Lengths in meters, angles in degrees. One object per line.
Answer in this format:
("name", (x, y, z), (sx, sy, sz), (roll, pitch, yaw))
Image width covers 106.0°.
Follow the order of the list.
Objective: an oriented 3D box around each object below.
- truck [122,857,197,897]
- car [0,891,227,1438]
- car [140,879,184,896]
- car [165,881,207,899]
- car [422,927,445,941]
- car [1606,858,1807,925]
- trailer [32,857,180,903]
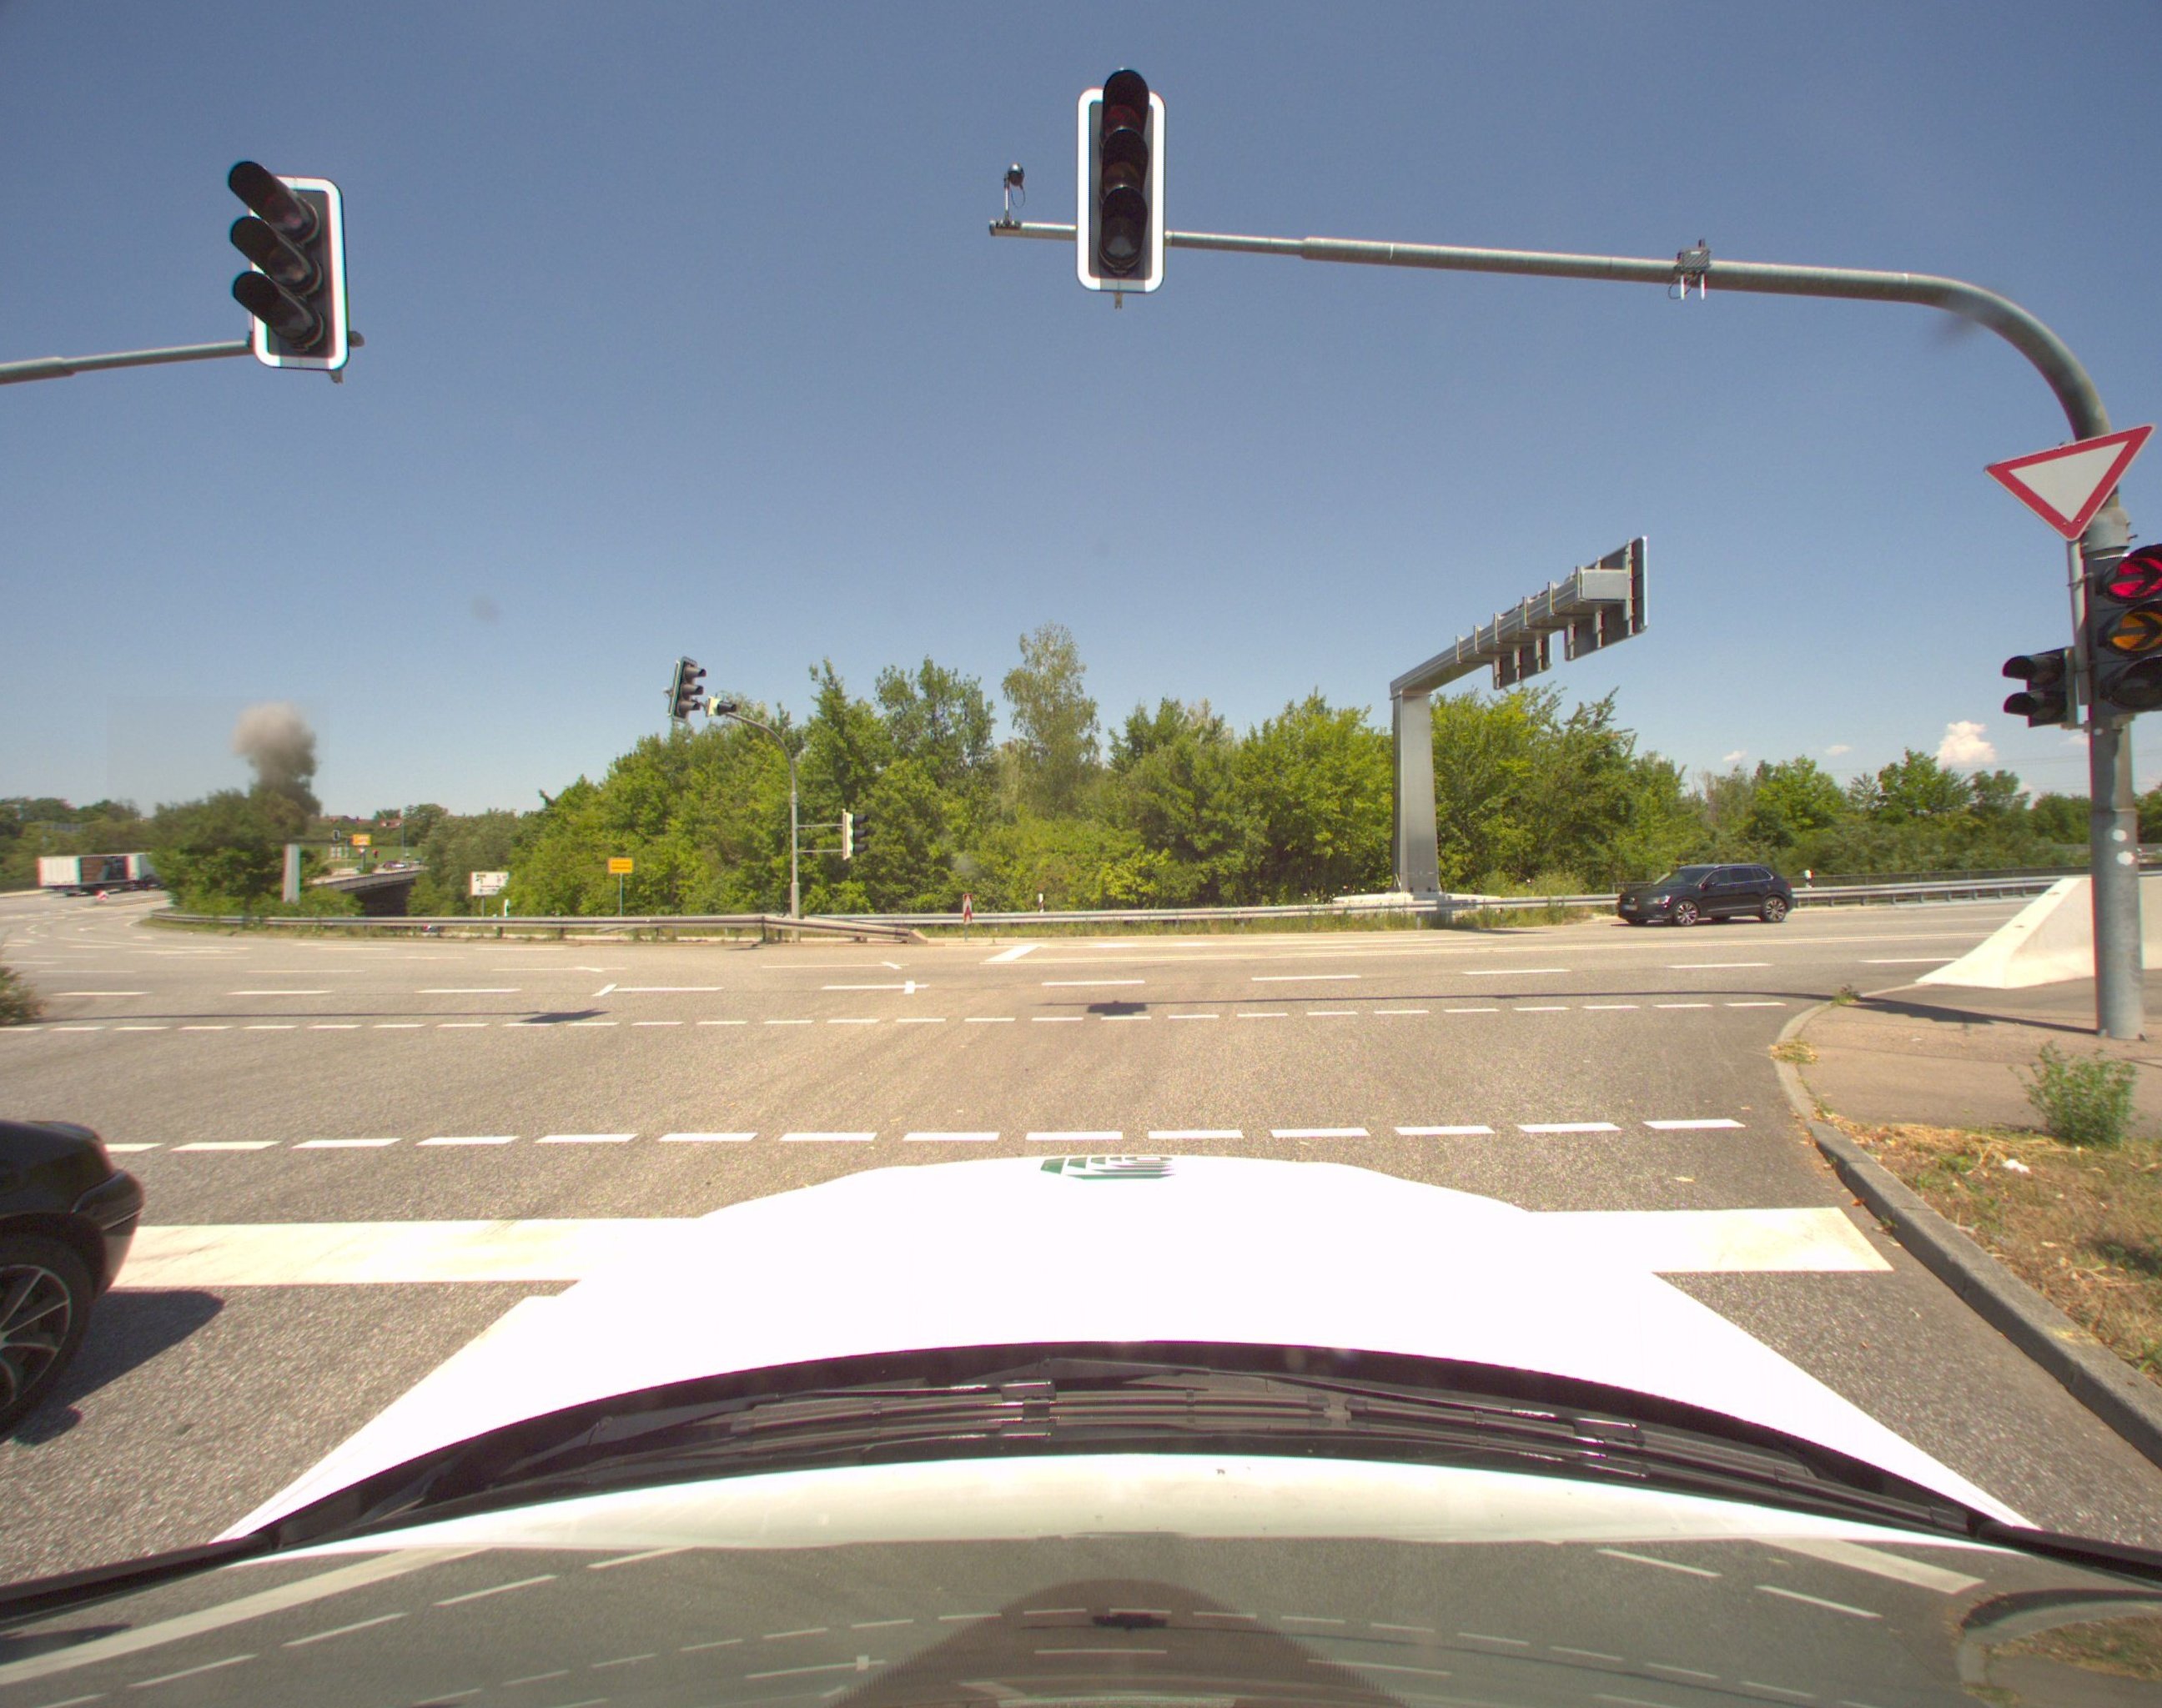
("truck", (-104.190, 2.515, 92.232), (3.245, 4.248, 6.190), (0, 0, -23))
("car", (-3.600, 0.824, 1.029), (1.615, 1.407, 3.297), (-1, -1, -2))
("car", (-99.072, 3.592, 87.876), (1.890, 1.732, 3.963), (0, 0, -28))
("car", (-94.148, 3.749, 85.670), (1.889, 1.622, 3.961), (0, 0, -31))
("car", (-69.747, 8.600, 87.693), (1.820, 1.434, 4.361), (3, -5, -40))
("car", (17.273, 1.050, 22.595), (4.259, 1.632, 1.899), (-1, -4, -8))
("trailer", (-101.317, 2.519, 85.217), (3.245, 4.248, 15.291), (0, 0, -23))
